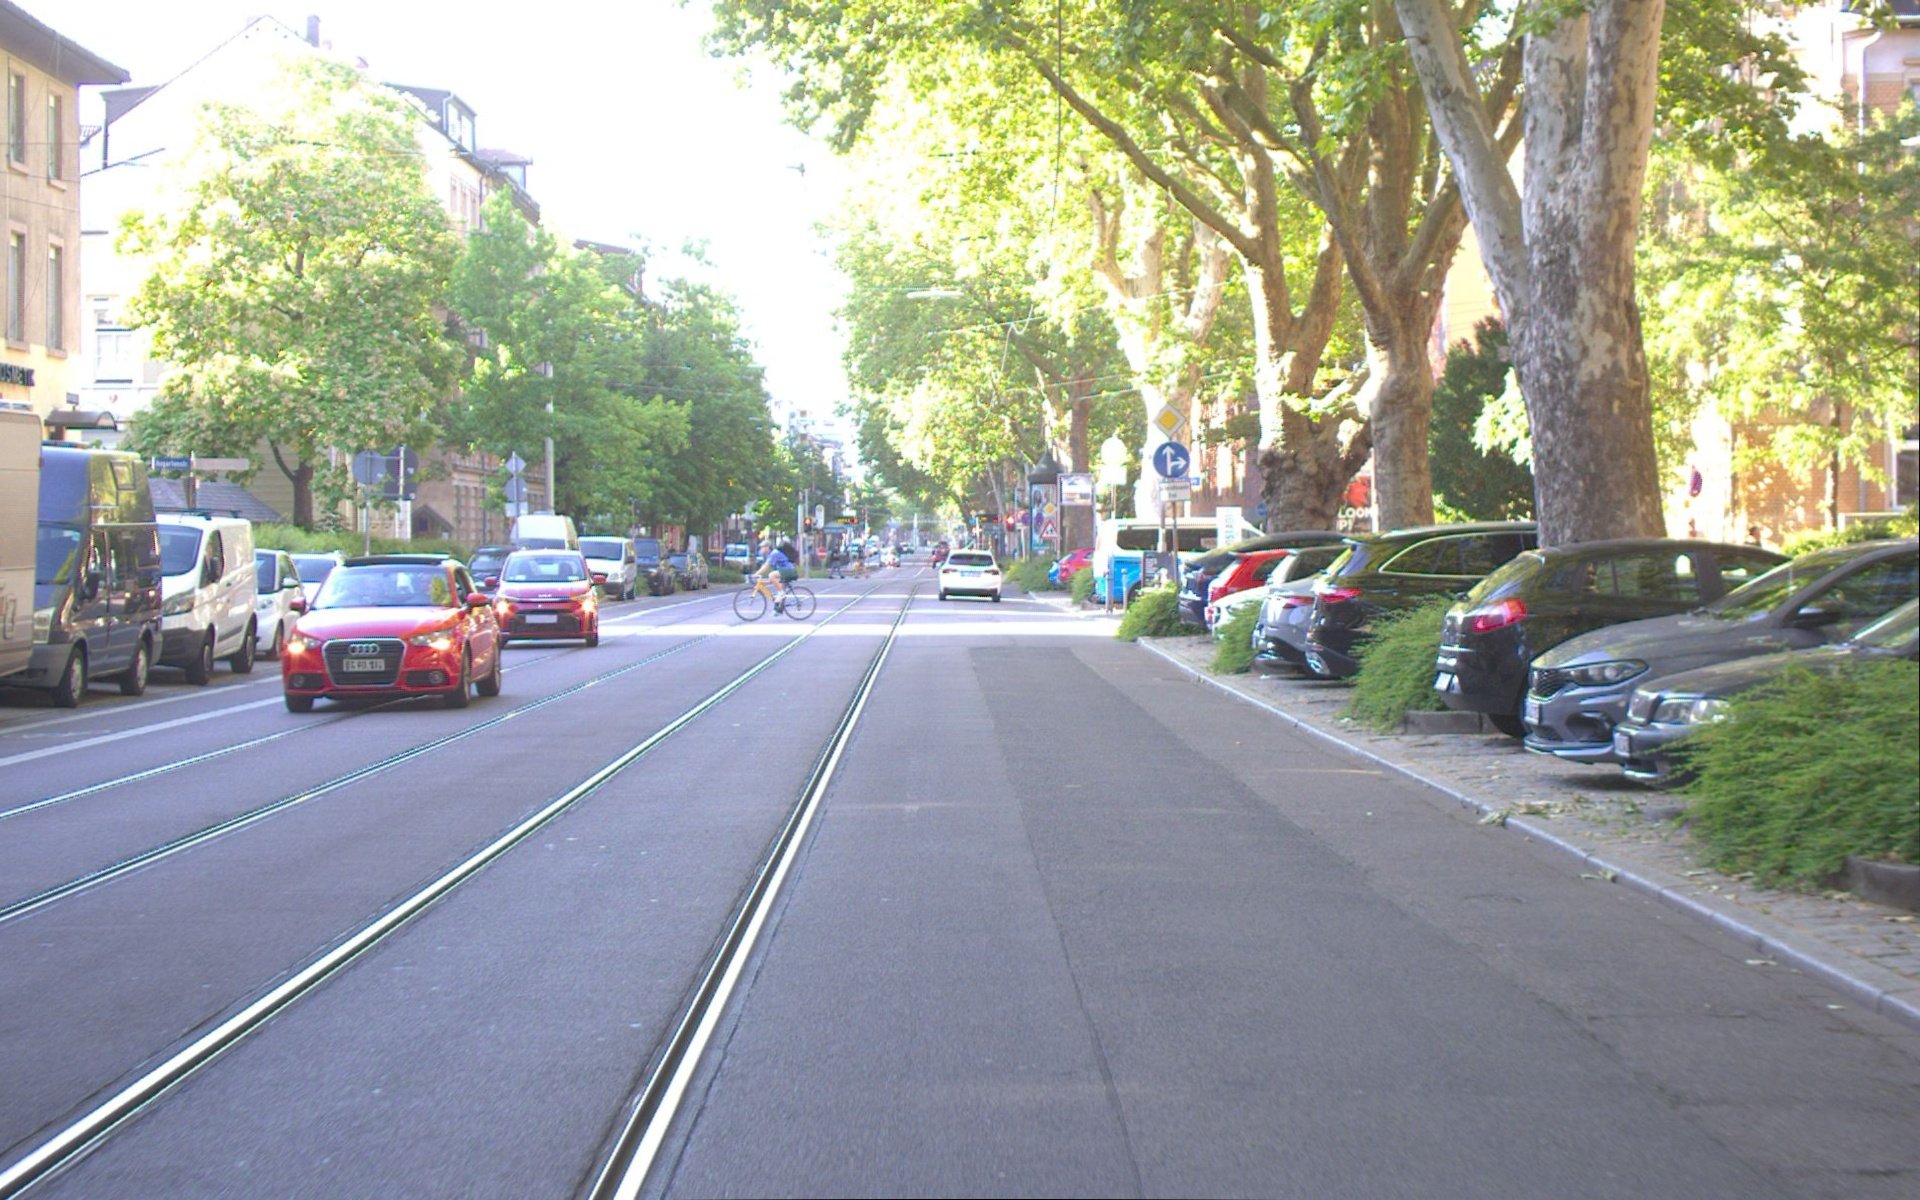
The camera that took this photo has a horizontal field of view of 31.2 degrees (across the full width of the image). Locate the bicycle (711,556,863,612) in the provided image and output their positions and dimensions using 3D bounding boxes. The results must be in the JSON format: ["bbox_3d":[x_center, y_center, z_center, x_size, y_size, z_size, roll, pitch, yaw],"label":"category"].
[{"bbox_3d":[-3.496,-0.324,69.333,2.947,1.101,1.052,0,1,-9],"label":"bicycle"}]

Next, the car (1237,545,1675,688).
[{"bbox_3d":[5.161,0.155,36.172,4.295,1.434,1.948,0,1,-1],"label":"car"}]

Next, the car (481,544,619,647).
[{"bbox_3d":[-6.290,-0.094,53.023,1.663,1.474,3.951,-1,1,-1],"label":"car"}]

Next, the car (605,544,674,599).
[{"bbox_3d":[-11.049,-1.012,118.765,1.993,1.854,4.179,0,1,0],"label":"car"}]

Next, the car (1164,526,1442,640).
[{"bbox_3d":[5.121,-0.269,51.651,3.923,1.664,1.961,0,1,-2],"label":"car"}]

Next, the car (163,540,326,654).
[{"bbox_3d":[-10.121,-0.063,48.800,1.572,1.521,3.040,1,1,2],"label":"car"}]

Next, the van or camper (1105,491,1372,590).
[{"bbox_3d":[6.096,-1.327,75.592,5.554,2.006,2.245,-1,4,-5],"label":"van or camper"}]

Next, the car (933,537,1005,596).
[{"bbox_3d":[0.229,-0.961,96.211,1.918,1.579,3.791,-1,1,-1],"label":"car"}]

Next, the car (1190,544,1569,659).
[{"bbox_3d":[5.386,0.001,44.562,4.686,1.441,1.892,0,1,0],"label":"car"}]

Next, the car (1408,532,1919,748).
[{"bbox_3d":[5.305,0.263,25.059,3.838,1.504,1.711,0,1,0],"label":"car"}]

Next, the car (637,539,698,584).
[{"bbox_3d":[-11.434,-1.524,134.686,1.993,1.739,4.659,0,1,0],"label":"car"}]

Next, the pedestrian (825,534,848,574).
[{"bbox_3d":[-6.205,-2.306,172.209,1.048,2.007,1.081,0,1,3],"label":"pedestrian"}]

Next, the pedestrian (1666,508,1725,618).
[{"bbox_3d":[11.692,-0.586,54.687,0.760,1.733,0.821,0,1,0],"label":"pedestrian"}]

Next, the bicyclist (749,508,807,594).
[{"bbox_3d":[-3.665,-0.989,69.291,1.045,1.699,1.058,0,1,-10],"label":"bicyclist"}]

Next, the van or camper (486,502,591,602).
[{"bbox_3d":[-10.955,-1.260,89.665,2.079,2.524,5.318,0,1,0],"label":"van or camper"}]

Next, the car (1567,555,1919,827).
[{"bbox_3d":[5.548,0.450,18.271,4.397,1.376,1.804,0,1,4],"label":"car"}]

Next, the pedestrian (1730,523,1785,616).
[{"bbox_3d":[12.566,-0.480,54.163,0.661,1.450,0.821,0,1,0],"label":"pedestrian"}]

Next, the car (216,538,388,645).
[{"bbox_3d":[-10.129,-0.169,53.278,1.836,1.463,5.070,3,1,-2],"label":"car"}]

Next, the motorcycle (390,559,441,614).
[{"bbox_3d":[-12.086,-0.308,76.334,0.763,1.103,2.330,0,3,0],"label":"motorcycle"}]

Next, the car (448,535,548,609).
[{"bbox_3d":[-10.784,-0.676,80.438,1.787,1.581,4.344,3,1,-1],"label":"car"}]

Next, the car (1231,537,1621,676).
[{"bbox_3d":[5.185,0.053,38.634,4.142,1.504,1.796,0,1,0],"label":"car"}]

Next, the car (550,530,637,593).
[{"bbox_3d":[-11.096,-1.176,104.346,2.173,1.854,4.659,0,1,0],"label":"car"}]

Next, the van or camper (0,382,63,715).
[{"bbox_3d":[-9.919,-0.490,29.962,2.337,3.030,6.397,3,1,1],"label":"van or camper"}]

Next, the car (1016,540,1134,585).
[{"bbox_3d":[3.933,-1.292,118.058,3.987,1.515,2.000,0,1,0],"label":"car"}]

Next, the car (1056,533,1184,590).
[{"bbox_3d":[5.117,-1.250,110.201,3.987,1.778,2.000,0,1,0],"label":"car"}]

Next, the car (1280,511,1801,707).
[{"bbox_3d":[5.265,0.065,31.691,4.497,1.596,2.027,-2,1,4],"label":"car"}]

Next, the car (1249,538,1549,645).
[{"bbox_3d":[5.966,-0.130,47.013,3.882,1.430,1.754,0,1,0],"label":"car"}]

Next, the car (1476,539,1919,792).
[{"bbox_3d":[5.448,0.365,21.152,4.247,1.478,1.898,0,1,0],"label":"car"}]

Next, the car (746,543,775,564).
[{"bbox_3d":[-13.783,-3.192,237.393,1.918,1.414,3.591,0,1,-3],"label":"car"}]

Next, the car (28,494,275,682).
[{"bbox_3d":[-9.957,-0.217,42.734,1.952,2.084,5.249,3,2,-2],"label":"car"}]

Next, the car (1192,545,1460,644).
[{"bbox_3d":[5.224,-0.097,49.430,3.650,1.373,1.890,0,1,1],"label":"car"}]

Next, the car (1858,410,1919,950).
[{"bbox_3d":[5.903,0.285,12.245,4.836,1.956,2.065,0,1,-2],"label":"car"}]

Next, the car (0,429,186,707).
[{"bbox_3d":[-9.942,-0.407,36.672,2.086,2.722,5.310,3,1,0],"label":"car"}]

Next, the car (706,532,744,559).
[{"bbox_3d":[-12.492,-2.928,183.046,1.918,1.414,3.721,0,1,-3],"label":"car"}]

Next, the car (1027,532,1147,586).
[{"bbox_3d":[4.262,-1.373,115.749,3.987,1.778,2.000,0,1,0],"label":"car"}]

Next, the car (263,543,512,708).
[{"bbox_3d":[-5.440,0.198,33.118,1.723,1.432,4.069,-1,1,-1],"label":"car"}]

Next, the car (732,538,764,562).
[{"bbox_3d":[-13.543,-3.198,219.540,1.918,1.414,3.591,-2,0,-5],"label":"car"}]
